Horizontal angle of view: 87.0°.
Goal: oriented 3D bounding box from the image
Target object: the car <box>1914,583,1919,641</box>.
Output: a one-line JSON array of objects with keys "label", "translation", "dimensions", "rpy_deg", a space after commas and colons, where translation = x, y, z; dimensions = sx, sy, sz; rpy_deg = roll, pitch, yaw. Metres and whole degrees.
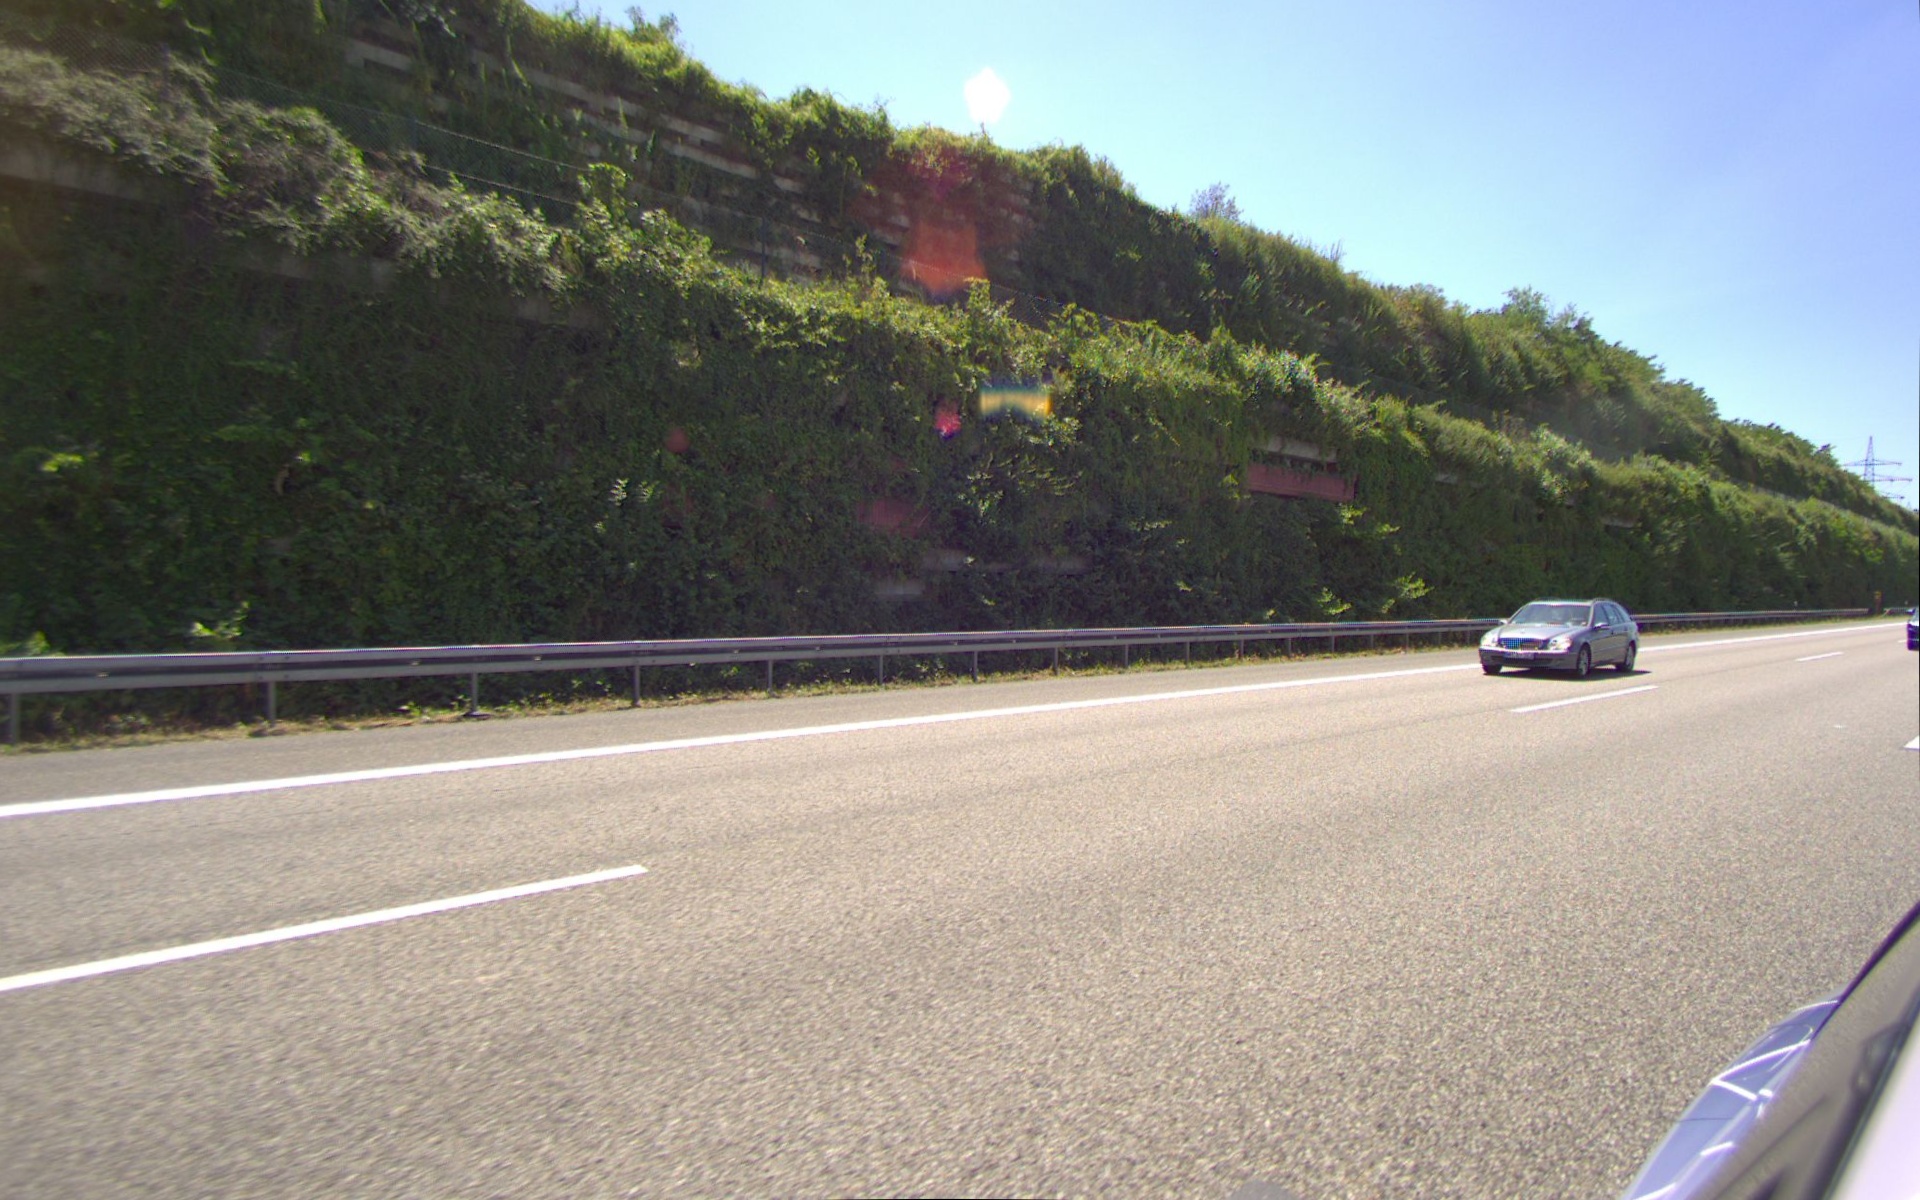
[{"label": "car", "translation": [30.238, 0.367, 30.299], "dimensions": [4.479, 1.701, 1.983], "rpy_deg": [0, 1, -41]}]

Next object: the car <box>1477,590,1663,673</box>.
[{"label": "car", "translation": [11.964, 0.535, 19.729], "dimensions": [4.479, 1.429, 1.839], "rpy_deg": [0, 1, -41]}]
